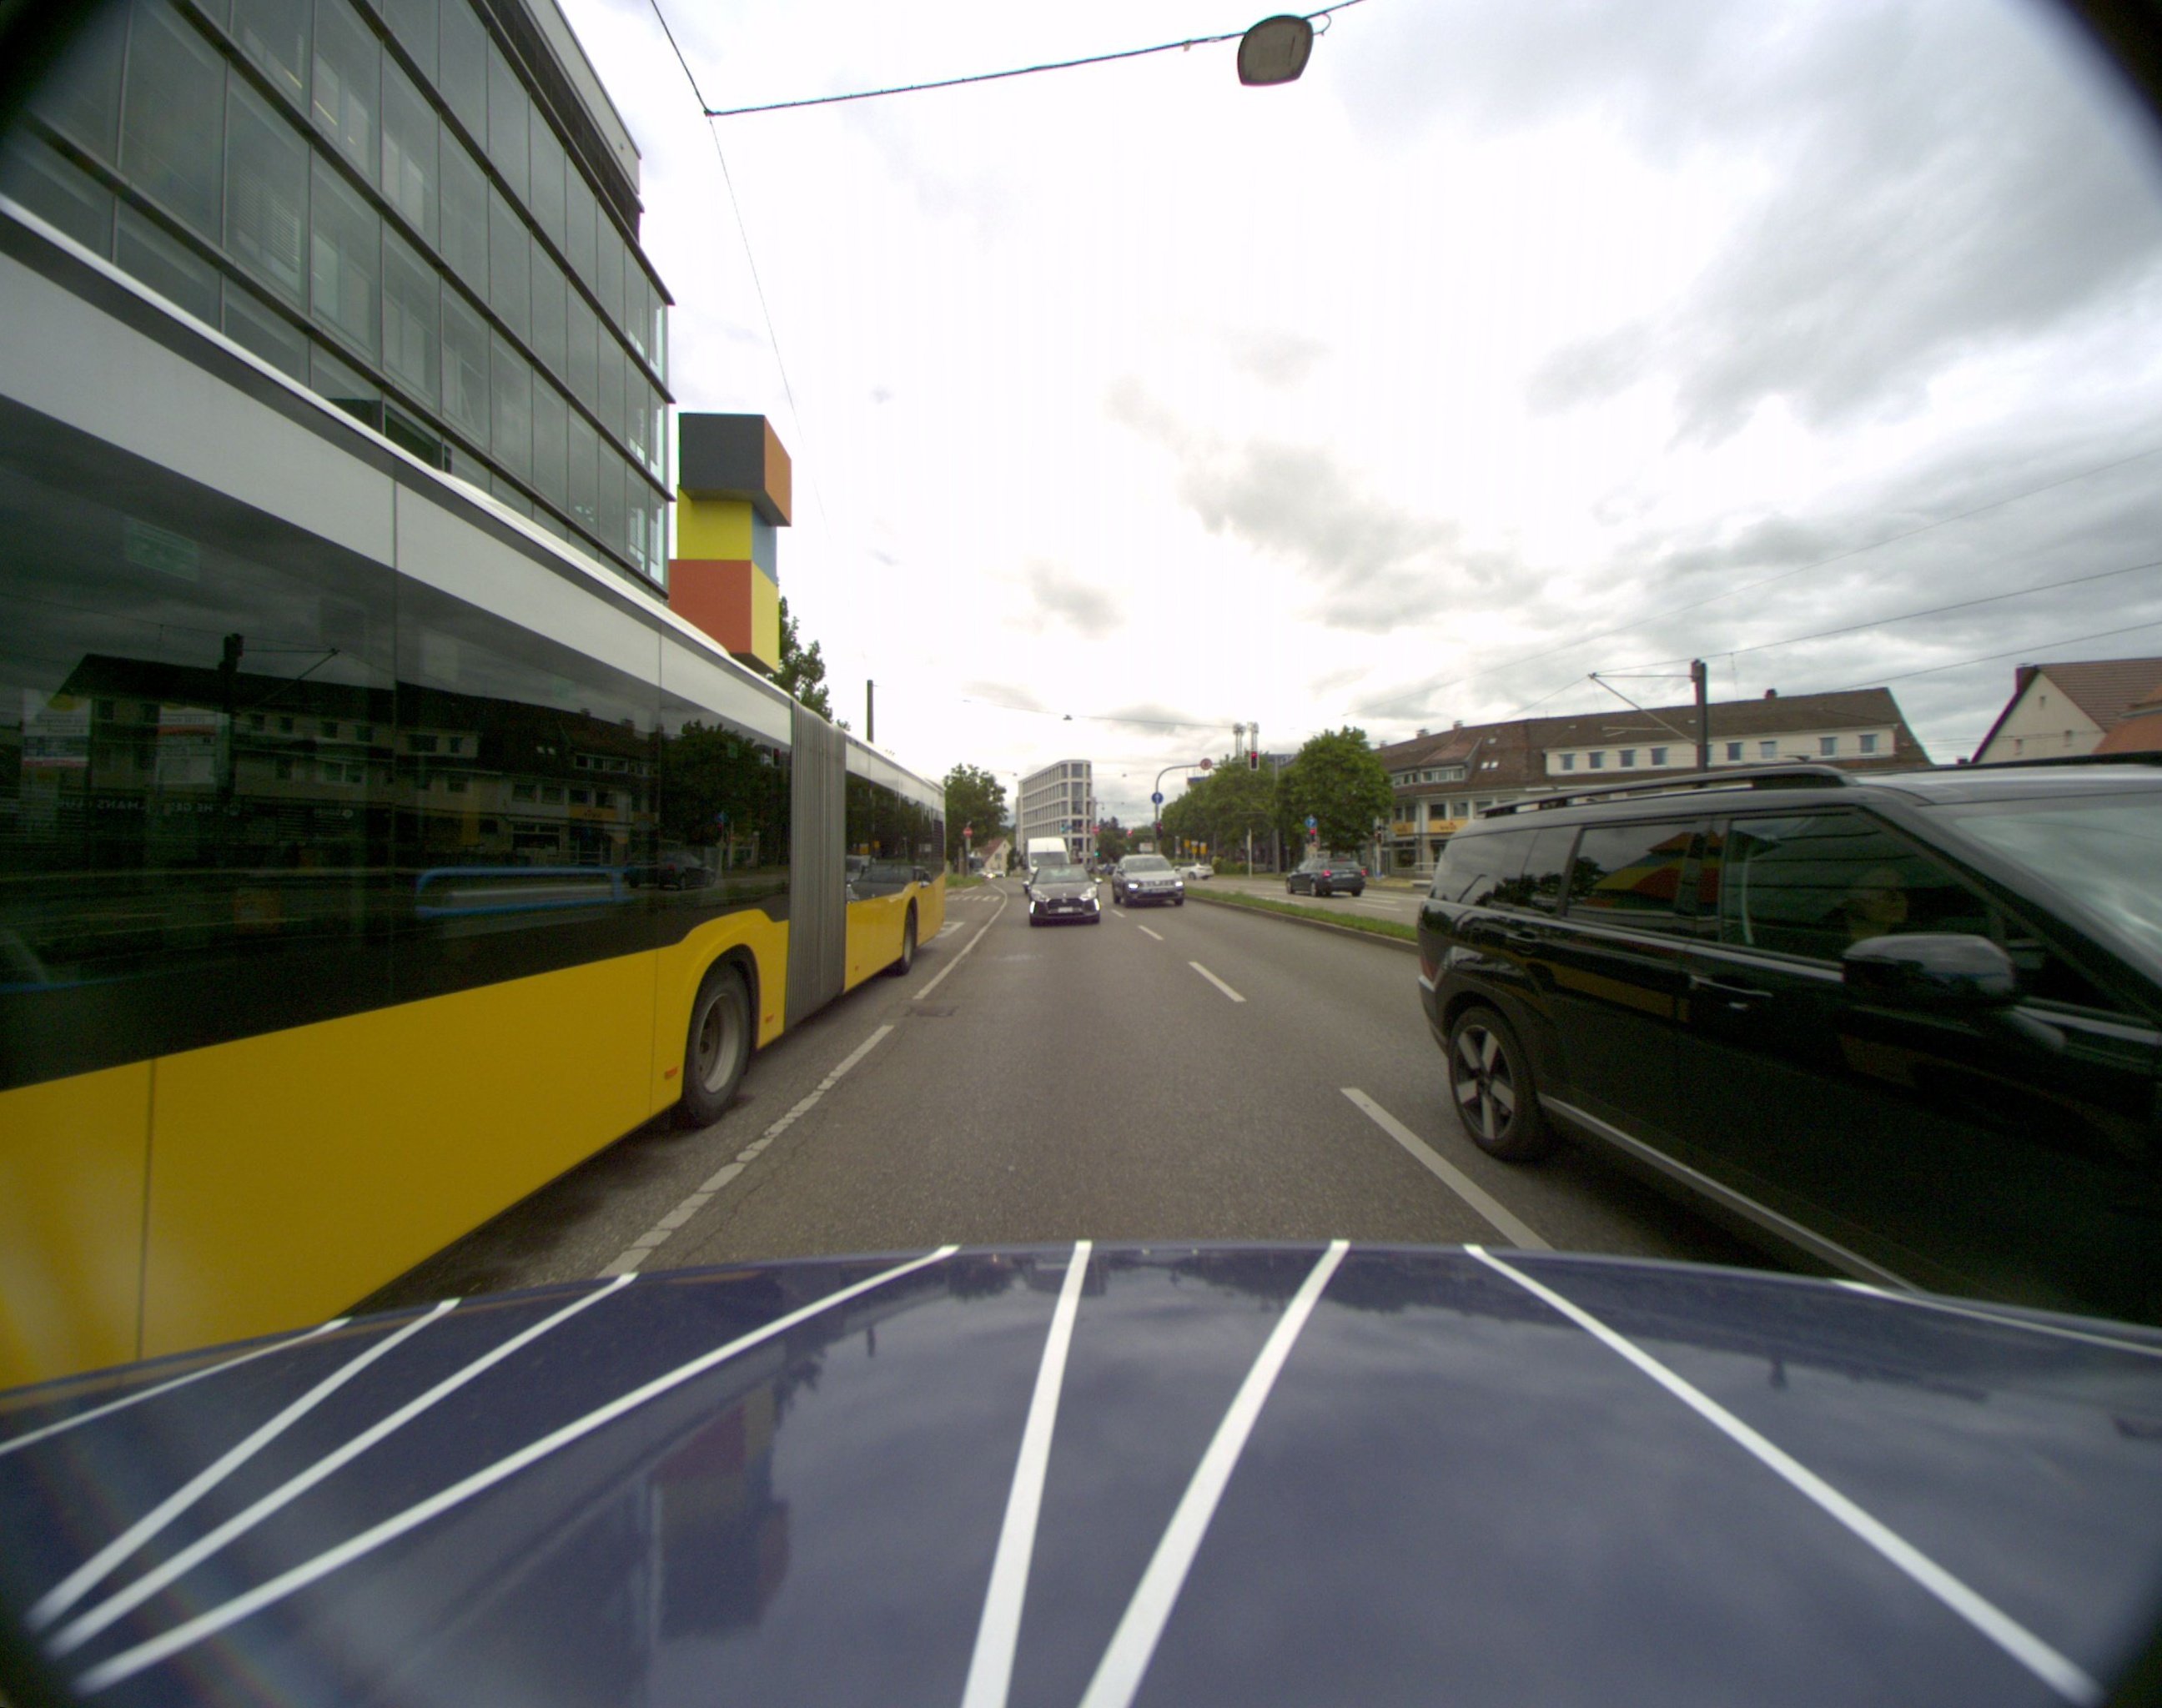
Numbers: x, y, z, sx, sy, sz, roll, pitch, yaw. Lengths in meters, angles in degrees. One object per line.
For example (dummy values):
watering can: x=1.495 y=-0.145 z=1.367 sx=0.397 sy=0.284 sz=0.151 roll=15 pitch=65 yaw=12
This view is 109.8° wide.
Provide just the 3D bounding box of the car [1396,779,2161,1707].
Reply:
car: x=2.847 y=0.700 z=2.071 sx=1.927 sy=1.741 sz=4.678 roll=-2 pitch=0 yaw=-1

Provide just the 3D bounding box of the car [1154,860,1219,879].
car: x=8.241 y=1.201 z=59.611 sx=4.796 sy=1.348 sz=2.004 roll=-1 pitch=0 yaw=43

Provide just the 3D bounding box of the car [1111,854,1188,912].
car: x=2.138 y=0.867 z=24.942 sx=1.999 sy=1.640 sz=4.393 roll=-2 pitch=0 yaw=-1

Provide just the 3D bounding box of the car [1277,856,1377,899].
car: x=9.312 y=0.835 z=29.199 sx=1.999 sy=1.503 sz=4.642 roll=0 pitch=0 yaw=-5

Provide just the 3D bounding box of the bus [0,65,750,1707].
bus: x=-3.268 y=0.135 z=0.227 sx=2.720 sy=3.145 sz=9.125 roll=0 pitch=0 yaw=-3

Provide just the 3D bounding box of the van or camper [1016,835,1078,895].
van or camper: x=-1.804 y=0.498 z=37.324 sx=2.281 sy=2.690 sz=6.990 roll=0 pitch=0 yaw=-9

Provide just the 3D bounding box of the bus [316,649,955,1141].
bus: x=-3.541 y=0.270 z=9.250 sx=2.719 sy=3.090 sz=8.868 roll=0 pitch=0 yaw=-1

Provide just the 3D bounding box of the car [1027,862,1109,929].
car: x=-0.234 y=0.969 z=19.373 sx=1.863 sy=1.516 sz=4.001 roll=0 pitch=0 yaw=2

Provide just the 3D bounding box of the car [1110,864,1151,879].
car: x=4.864 y=1.736 z=74.437 sx=1.994 sy=1.348 sz=4.820 roll=-1 pitch=0 yaw=31
